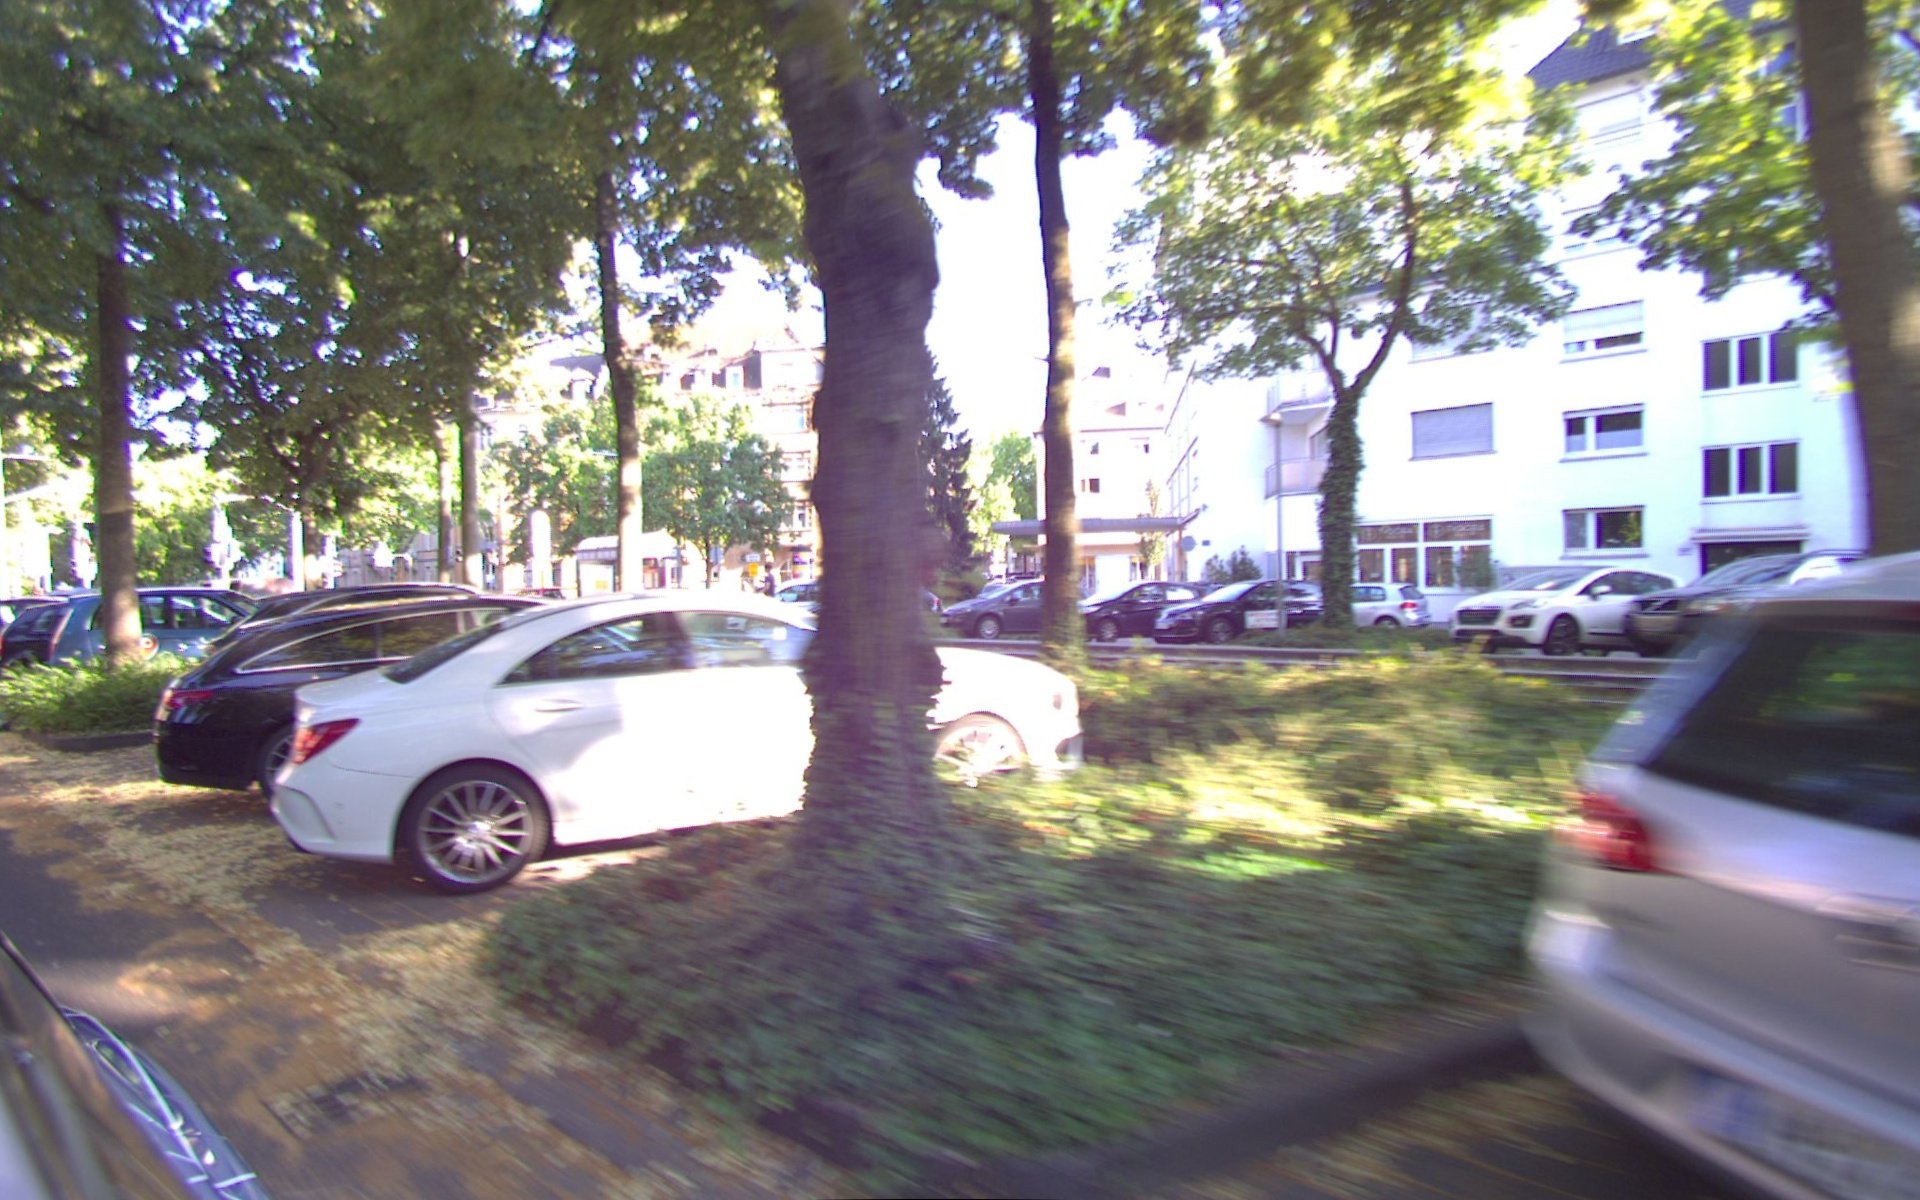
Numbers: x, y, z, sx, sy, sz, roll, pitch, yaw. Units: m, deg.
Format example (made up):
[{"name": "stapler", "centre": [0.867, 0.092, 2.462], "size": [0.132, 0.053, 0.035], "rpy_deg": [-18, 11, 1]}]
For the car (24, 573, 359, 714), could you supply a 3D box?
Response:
[{"name": "car", "centre": [-10.419, 0.517, 14.018], "size": [3.296, 1.579, 1.577], "rpy_deg": [-4, 2, -21]}]

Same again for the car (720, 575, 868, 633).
[{"name": "car", "centre": [-4.971, 0.125, 30.262], "size": [4.079, 1.634, 1.894], "rpy_deg": [1, 0, -19]}]

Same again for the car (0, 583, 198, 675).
[{"name": "car", "centre": [-17.135, 0.557, 19.277], "size": [3.830, 1.458, 1.640], "rpy_deg": [-4, 4, -23]}]

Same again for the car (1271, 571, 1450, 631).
[{"name": "car", "centre": [10.674, 0.037, 27.106], "size": [4.030, 1.414, 1.831], "rpy_deg": [-1, 3, 44]}]

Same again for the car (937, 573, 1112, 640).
[{"name": "car", "centre": [1.558, 0.167, 24.647], "size": [3.931, 1.530, 1.592], "rpy_deg": [1, 0, -17]}]

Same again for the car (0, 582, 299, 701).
[{"name": "car", "centre": [-12.663, 0.579, 15.786], "size": [3.632, 1.458, 1.640], "rpy_deg": [-4, 4, -23]}]

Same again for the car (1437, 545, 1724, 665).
[{"name": "car", "centre": [10.385, 0.057, 16.980], "size": [4.245, 1.832, 1.819], "rpy_deg": [0, 0, -19]}]

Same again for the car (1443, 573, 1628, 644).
[{"name": "car", "centre": [13.816, 0.200, 24.376], "size": [3.509, 1.502, 1.831], "rpy_deg": [-1, 3, 44]}]

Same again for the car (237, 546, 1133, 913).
[{"name": "car", "centre": [-1.400, 0.526, 6.099], "size": [4.390, 1.414, 1.863], "rpy_deg": [-4, 2, -19]}]

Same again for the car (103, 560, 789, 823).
[{"name": "car", "centre": [-3.676, 0.530, 7.936], "size": [4.240, 1.414, 1.750], "rpy_deg": [-4, 2, -22]}]

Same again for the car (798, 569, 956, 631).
[{"name": "car", "centre": [-2.343, 0.004, 28.305], "size": [4.080, 1.634, 1.893], "rpy_deg": [1, 0, -17]}]

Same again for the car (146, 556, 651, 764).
[{"name": "car", "centre": [-5.307, 0.456, 10.087], "size": [3.931, 1.523, 1.966], "rpy_deg": [-4, 2, -25]}]

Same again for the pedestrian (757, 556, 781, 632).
[{"name": "pedestrian", "centre": [-5.180, -0.168, 27.455], "size": [0.528, 2.029, 0.645], "rpy_deg": [-1, 1, -17]}]

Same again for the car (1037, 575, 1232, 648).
[{"name": "car", "centre": [3.849, 0.219, 22.521], "size": [3.816, 1.455, 1.860], "rpy_deg": [-2, 1, -18]}]

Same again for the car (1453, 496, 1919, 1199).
[{"name": "car", "centre": [3.390, 0.441, 2.056], "size": [4.171, 1.451, 1.863], "rpy_deg": [-4, 3, -19]}]

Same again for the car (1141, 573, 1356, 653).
[{"name": "car", "centre": [5.884, 0.216, 20.716], "size": [3.816, 1.455, 1.860], "rpy_deg": [-2, 1, -18]}]

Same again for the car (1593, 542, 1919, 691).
[{"name": "car", "centre": [12.398, 0.204, 15.221], "size": [4.740, 2.029, 2.005], "rpy_deg": [0, 0, -11]}]
